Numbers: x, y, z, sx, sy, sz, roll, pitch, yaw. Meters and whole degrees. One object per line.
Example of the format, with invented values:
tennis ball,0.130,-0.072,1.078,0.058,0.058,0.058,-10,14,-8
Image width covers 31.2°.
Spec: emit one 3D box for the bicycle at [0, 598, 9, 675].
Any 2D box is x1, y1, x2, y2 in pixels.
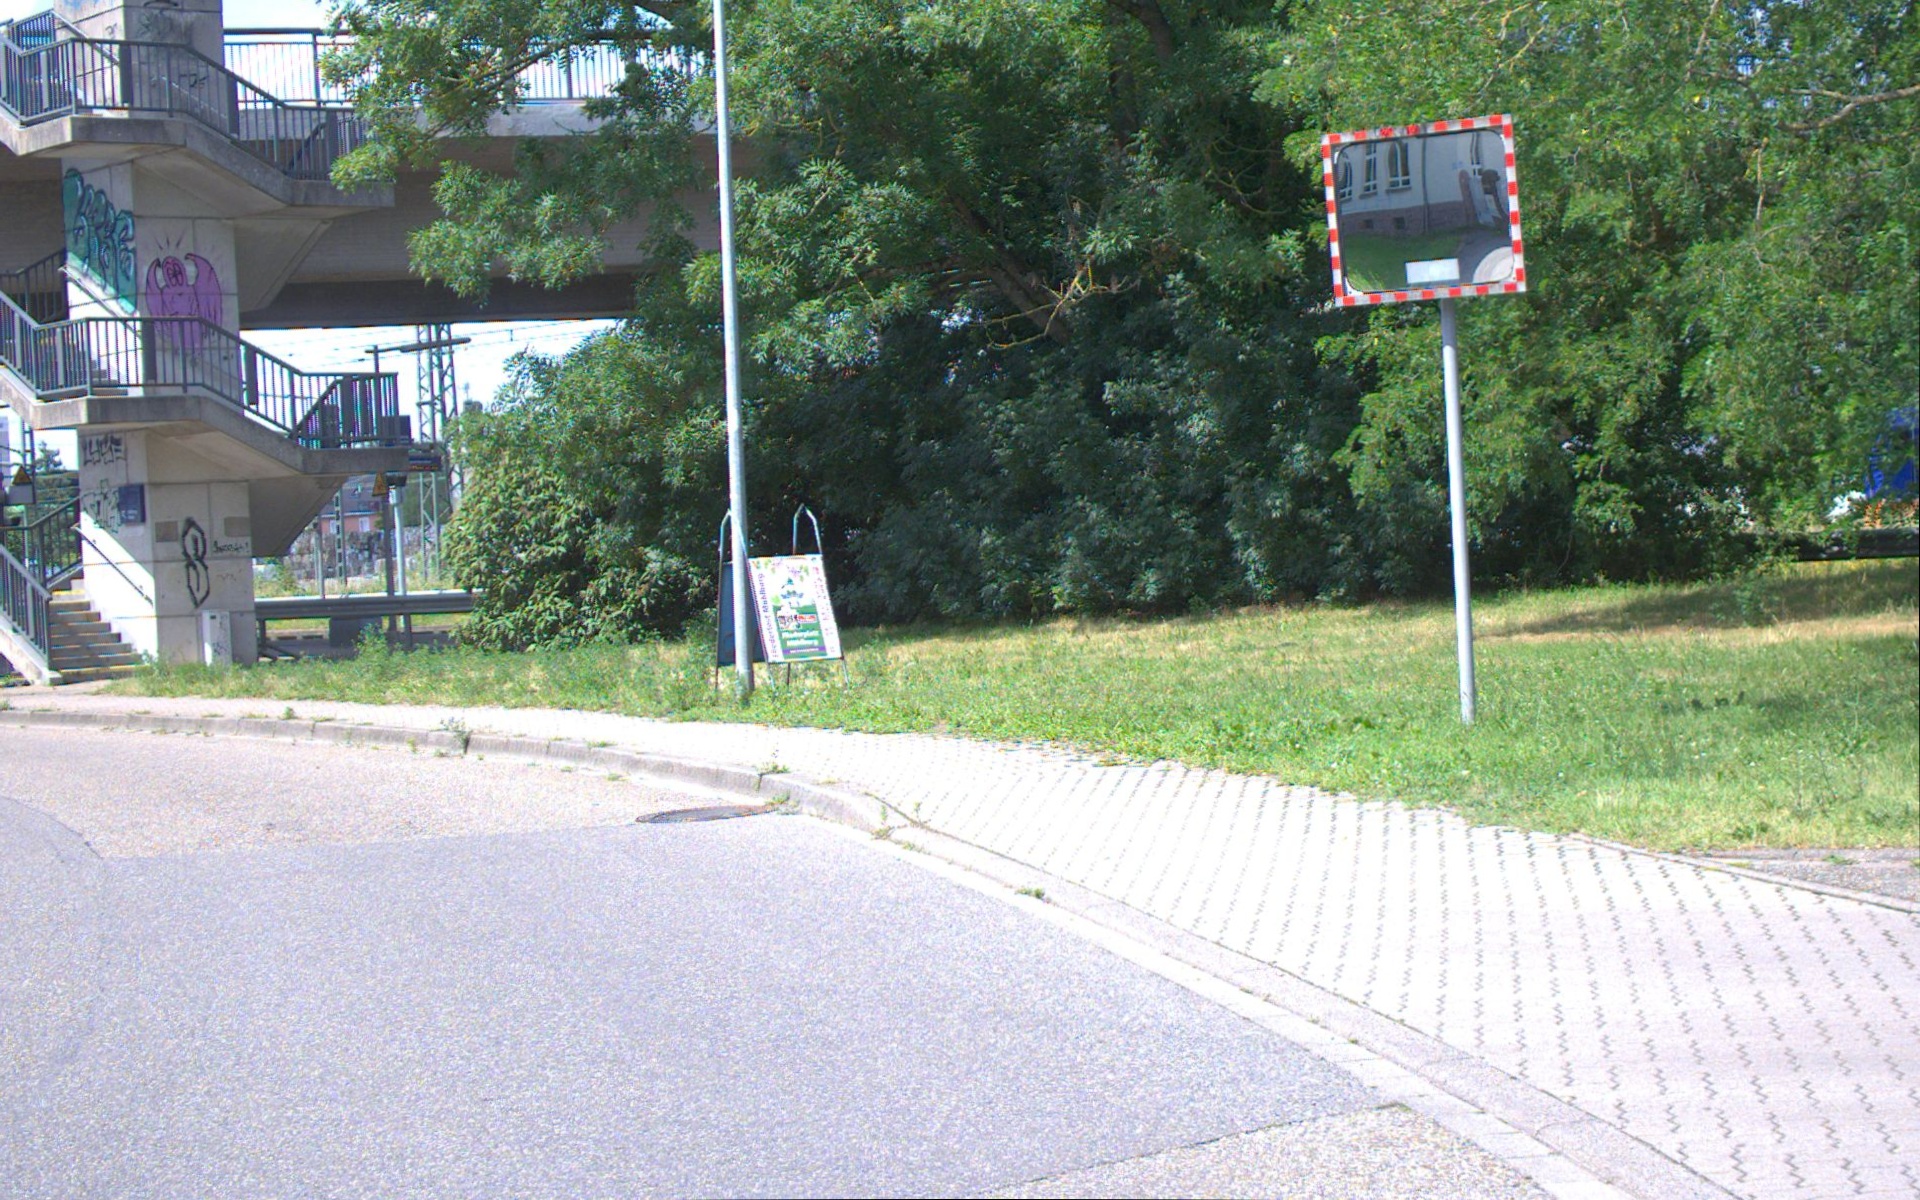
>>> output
bicycle,-14.796,0.573,50.072,2.189,1.104,0.643,-2,2,41
